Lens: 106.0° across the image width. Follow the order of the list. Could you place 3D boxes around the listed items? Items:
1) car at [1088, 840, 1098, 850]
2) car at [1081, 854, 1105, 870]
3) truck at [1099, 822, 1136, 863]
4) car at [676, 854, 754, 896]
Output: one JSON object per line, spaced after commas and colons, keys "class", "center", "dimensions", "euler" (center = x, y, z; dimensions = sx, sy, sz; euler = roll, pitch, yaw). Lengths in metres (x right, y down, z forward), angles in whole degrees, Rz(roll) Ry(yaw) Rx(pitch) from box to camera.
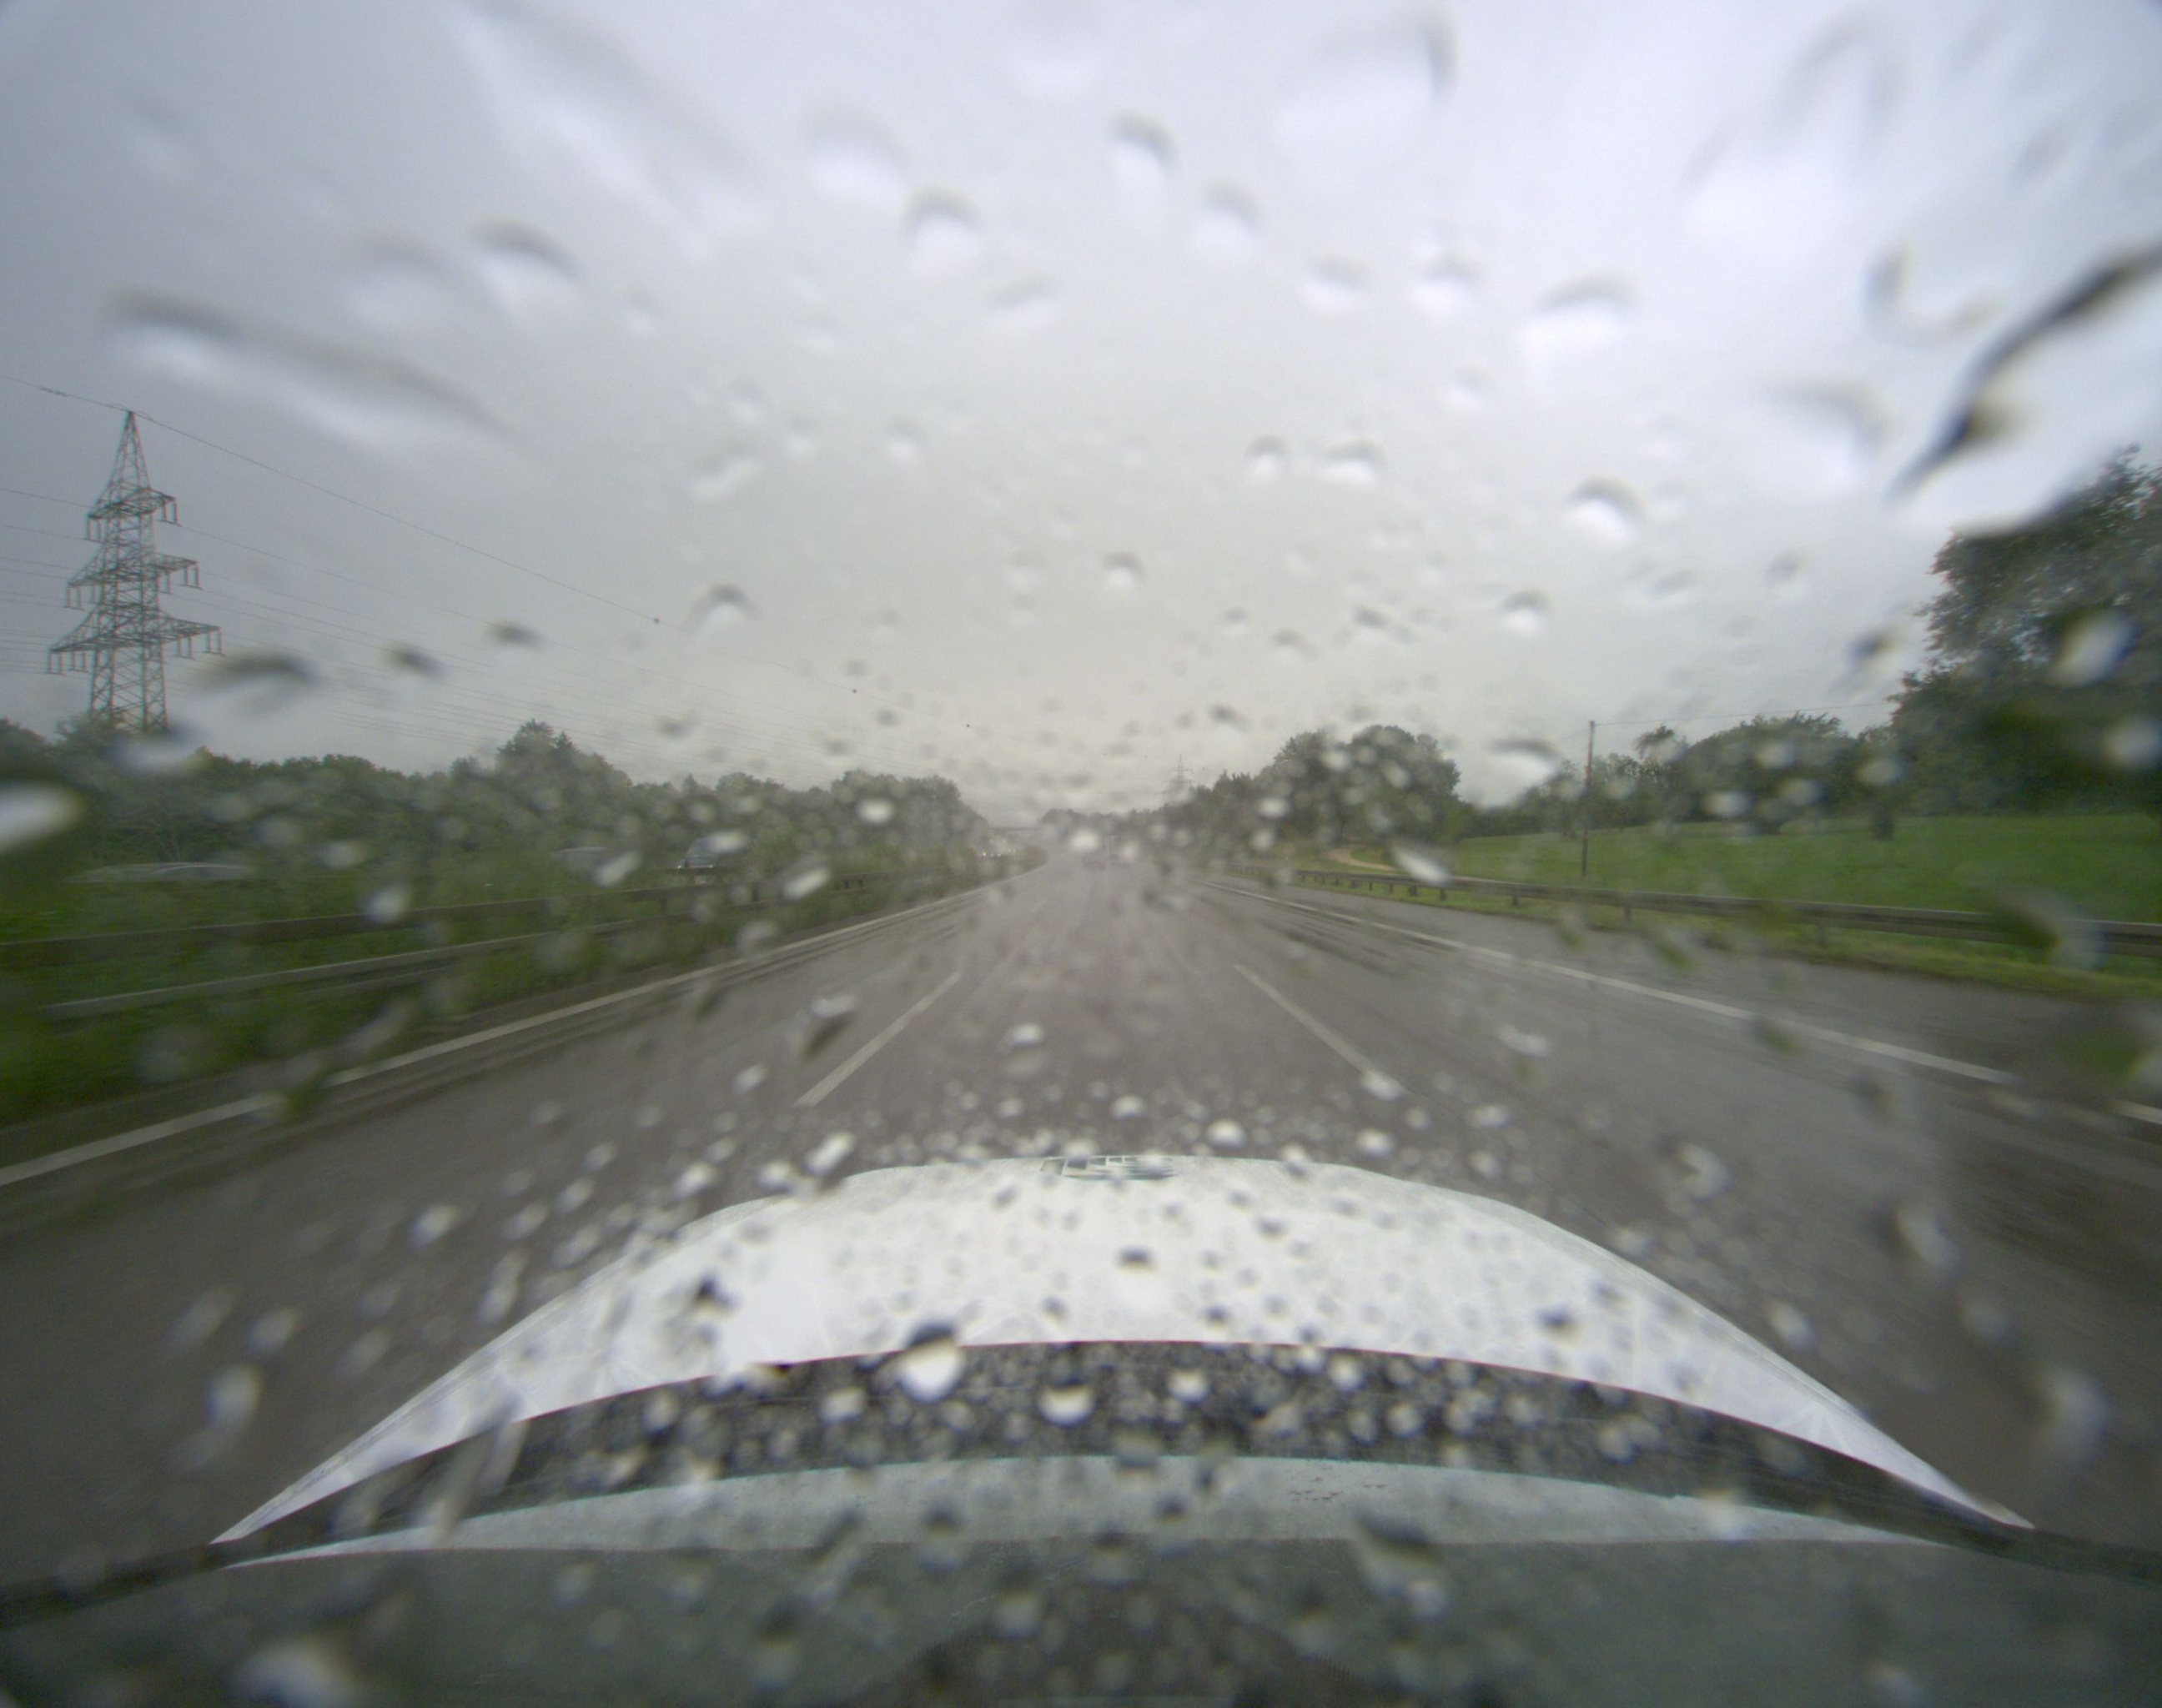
{"class": "car", "center": [2.923, -2.195, 196.648], "dimensions": [2.386, 2.272, 5.001], "euler": [1, 1, -1]}
{"class": "car", "center": [0.970, 0.639, 65.590], "dimensions": [1.741, 1.212, 4.003], "euler": [2, 0, 3]}
{"class": "truck", "center": [5.193, -1.477, 110.583], "dimensions": [4.237, 4.972, 17.364], "euler": [-2, 0, 5]}
{"class": "car", "center": [-19.671, 1.067, 44.029], "dimensions": [1.813, 2.013, 4.837], "euler": [3, 0, 2]}
